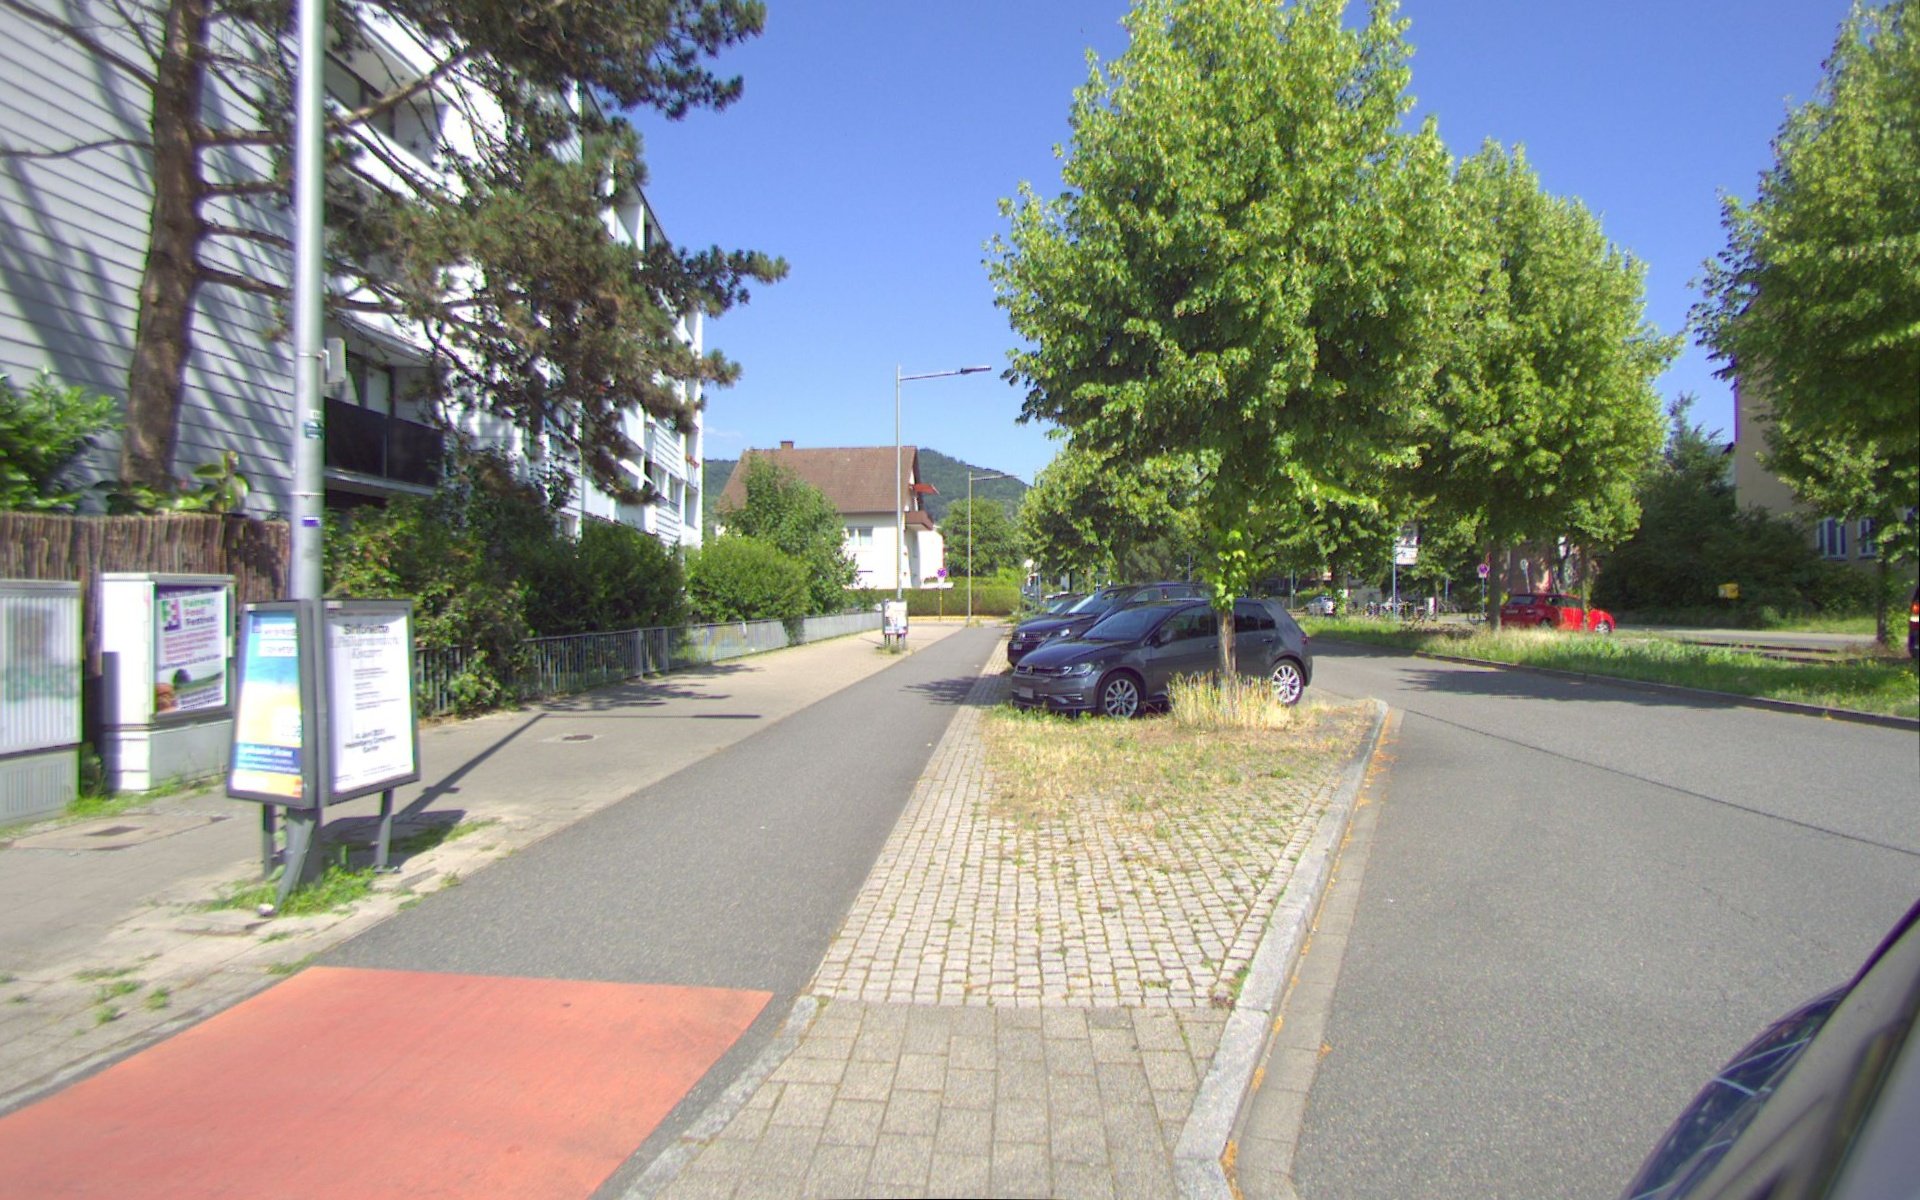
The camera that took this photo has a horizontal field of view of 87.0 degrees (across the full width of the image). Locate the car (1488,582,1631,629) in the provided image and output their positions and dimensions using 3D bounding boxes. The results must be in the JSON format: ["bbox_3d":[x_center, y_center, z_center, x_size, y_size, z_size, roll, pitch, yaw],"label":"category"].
[{"bbox_3d":[20.162,0.204,34.065,3.915,1.485,2.004,1,-1,-16],"label":"car"}]

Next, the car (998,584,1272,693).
[{"bbox_3d":[2.749,0.531,15.869,3.917,1.492,1.772,-1,0,-25],"label":"car"}]

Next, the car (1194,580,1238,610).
[{"bbox_3d":[23.021,-0.401,91.151,2.054,2.528,5.956,1,-1,-4],"label":"car"}]

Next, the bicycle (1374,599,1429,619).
[{"bbox_3d":[22.707,0.444,52.091,2.506,1.000,0.739,1,-1,2],"label":"bicycle"}]

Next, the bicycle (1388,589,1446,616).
[{"bbox_3d":[22.531,0.121,49.906,2.506,1.272,0.739,-1,-1,2],"label":"bicycle"}]

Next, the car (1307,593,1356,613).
[{"bbox_3d":[25.470,0.227,69.556,1.692,1.283,4.002,1,-1,-4],"label":"car"}]

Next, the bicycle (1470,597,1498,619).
[{"bbox_3d":[22.308,0.338,43.128,0.512,0.914,1.271,1,0,-1],"label":"bicycle"}]

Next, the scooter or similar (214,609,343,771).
[{"bbox_3d":[-5.352,0.671,7.986,0.228,1.181,0.954,-1,0,11],"label":"scooter or similar"}]

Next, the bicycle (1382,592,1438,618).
[{"bbox_3d":[22.655,0.234,51.017,2.477,1.272,0.739,1,-1,2],"label":"bicycle"}]

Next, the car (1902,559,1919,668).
[{"bbox_3d":[18.321,0.229,17.527,4.107,1.840,2.005,0,-1,-33],"label":"car"}]

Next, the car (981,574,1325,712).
[{"bbox_3d":[2.536,0.474,13.291,4.033,1.549,2.003,-1,0,-26],"label":"car"}]

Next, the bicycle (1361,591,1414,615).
[{"bbox_3d":[22.992,0.171,54.439,2.506,1.272,0.739,1,-1,2],"label":"bicycle"}]

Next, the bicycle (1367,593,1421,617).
[{"bbox_3d":[22.880,0.272,53.365,2.506,1.255,0.739,1,-1,2],"label":"bicycle"}]

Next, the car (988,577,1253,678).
[{"bbox_3d":[2.984,0.437,18.624,4.648,1.681,1.755,-1,0,-26],"label":"car"}]

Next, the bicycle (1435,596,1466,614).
[{"bbox_3d":[30.065,0.295,62.041,0.372,1.095,1.711,1,-1,-44],"label":"bicycle"}]

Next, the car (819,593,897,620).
[{"bbox_3d":[-5.651,0.399,56.225,4.056,1.416,1.807,0,-3,5],"label":"car"}]

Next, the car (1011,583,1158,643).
[{"bbox_3d":[3.663,0.352,30.030,3.916,1.661,1.804,-1,0,-14],"label":"car"}]
